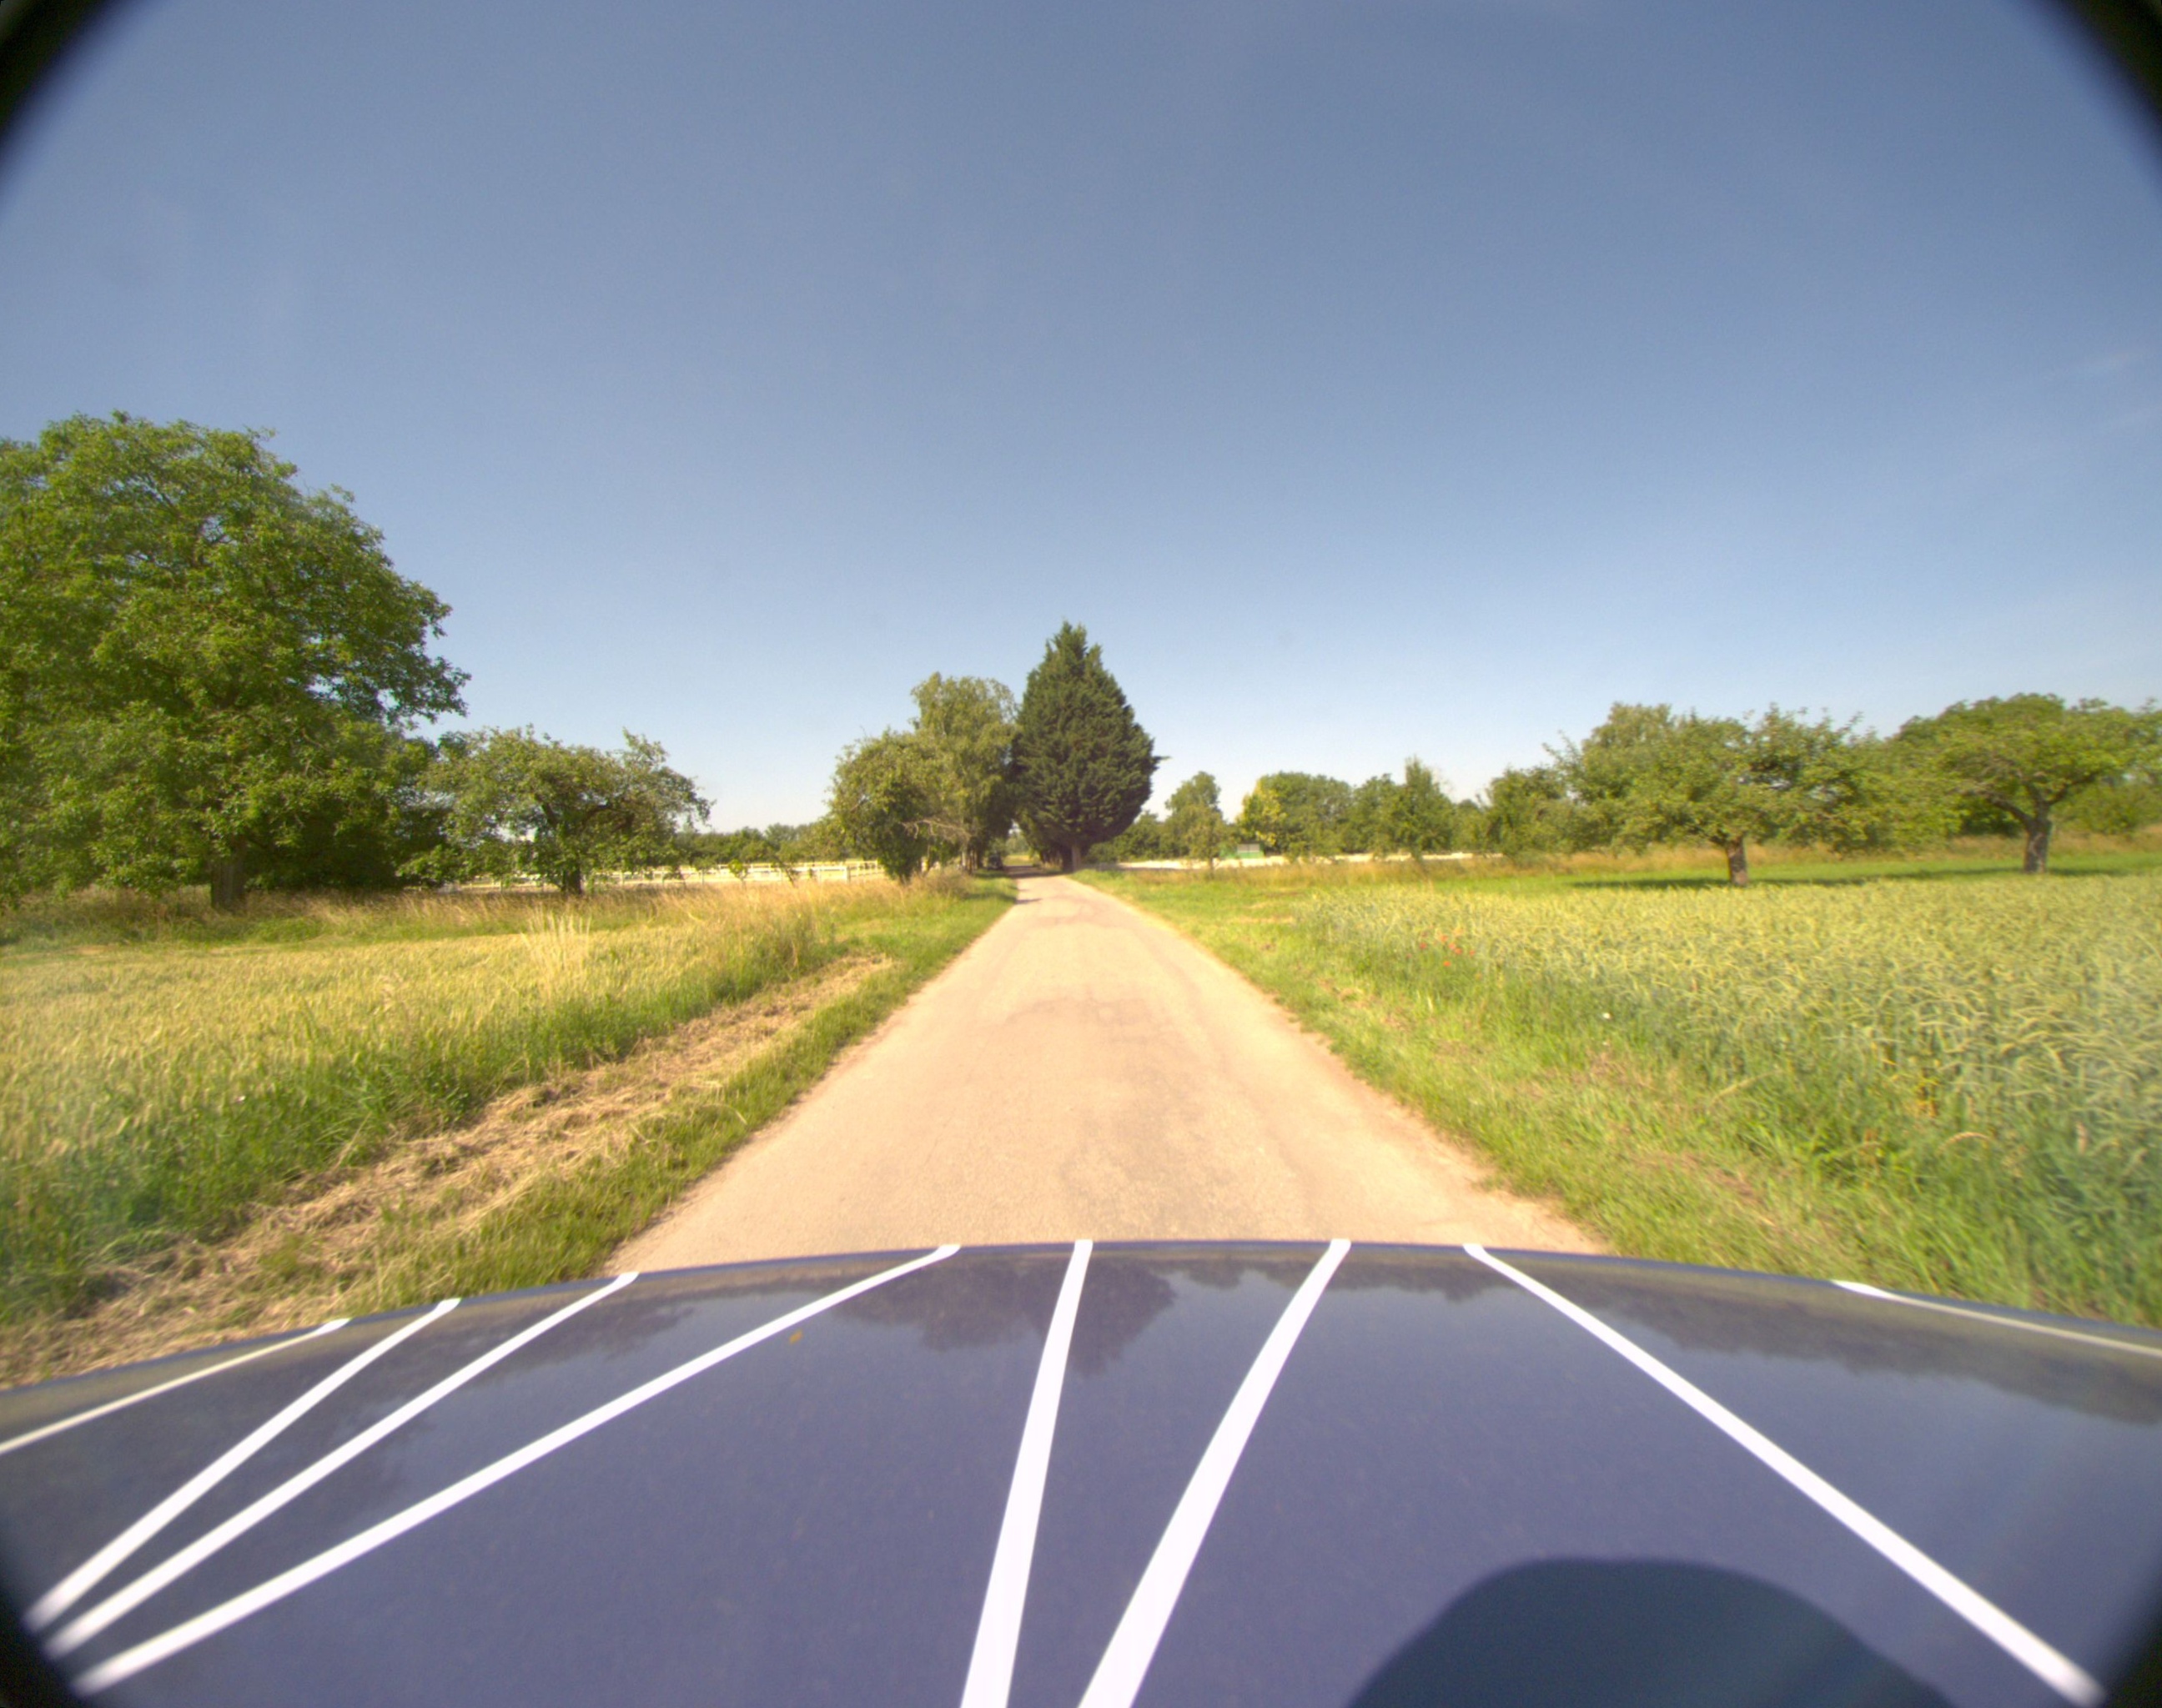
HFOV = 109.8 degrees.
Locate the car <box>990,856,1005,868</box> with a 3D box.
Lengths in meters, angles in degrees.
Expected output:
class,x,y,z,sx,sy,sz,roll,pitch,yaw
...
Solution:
class,x,y,z,sx,sy,sz,roll,pitch,yaw
car,-9.813,0.901,89.165,1.723,1.312,3.740,-2,0,-7
